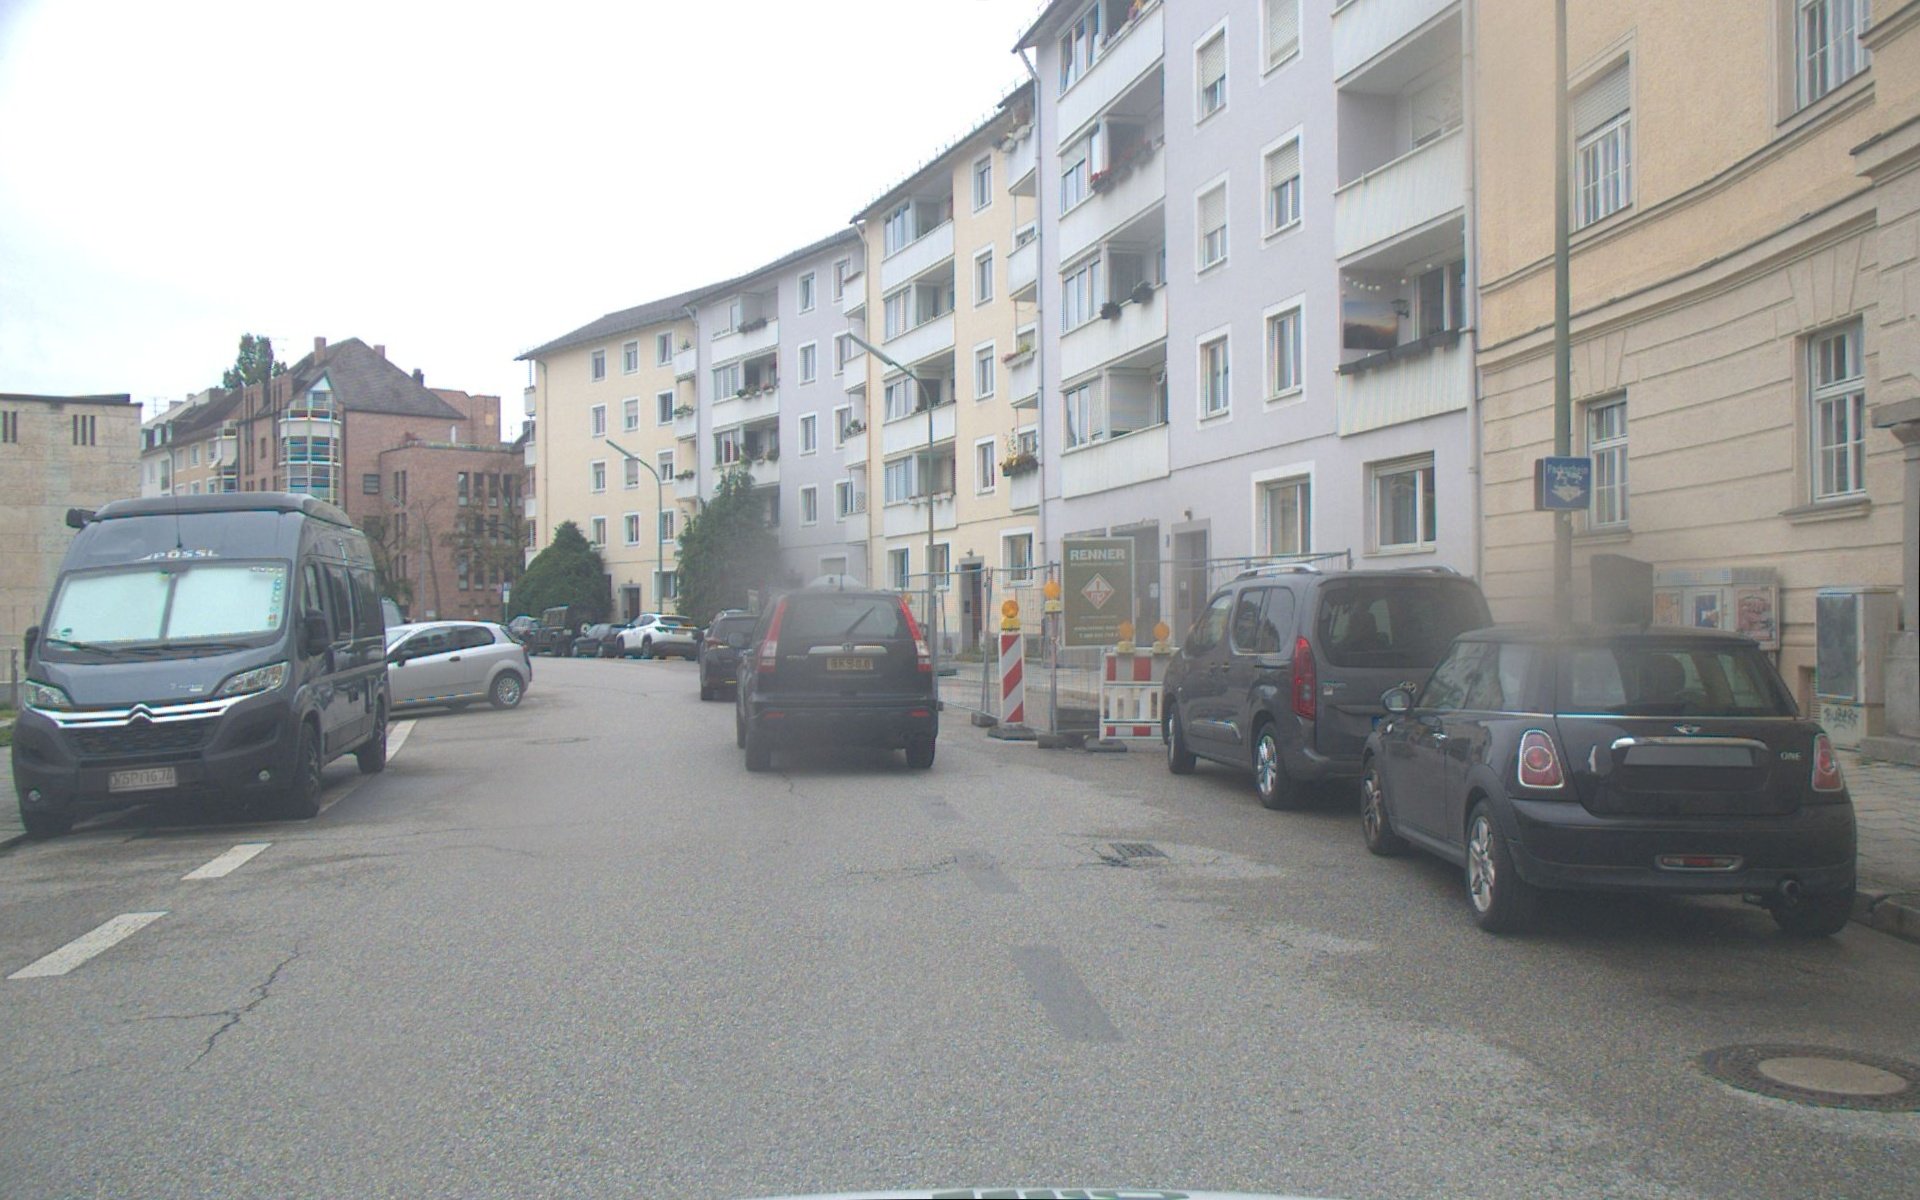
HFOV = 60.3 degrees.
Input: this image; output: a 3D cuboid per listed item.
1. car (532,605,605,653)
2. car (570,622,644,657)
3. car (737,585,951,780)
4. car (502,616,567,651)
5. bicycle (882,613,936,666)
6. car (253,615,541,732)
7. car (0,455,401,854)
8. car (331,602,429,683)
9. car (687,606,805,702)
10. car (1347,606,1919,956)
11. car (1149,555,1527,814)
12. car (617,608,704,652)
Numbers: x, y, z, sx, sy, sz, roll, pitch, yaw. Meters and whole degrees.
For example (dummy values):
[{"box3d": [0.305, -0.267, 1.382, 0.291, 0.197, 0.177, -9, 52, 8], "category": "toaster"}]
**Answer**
[{"box3d": [-16.014, 1.157, 67.499, 1.708, 1.911, 3.955, 0, 0, -33], "category": "car"}, {"box3d": [-13.608, 1.506, 63.667, 1.682, 1.258, 3.561, 0, 0, -33], "category": "car"}, {"box3d": [-1.270, 0.725, 16.419, 1.855, 1.676, 3.984, 0, 0, -8], "category": "car"}, {"box3d": [-18.358, 1.425, 71.270, 1.682, 1.413, 3.561, 0, 0, -33], "category": "car"}, {"box3d": [-1.427, 1.066, 45.802, 0.952, 1.413, 2.554, 0, -1, -15], "category": "bicycle"}, {"box3d": [-8.980, 1.147, 26.640, 1.653, 1.507, 4.066, -6, -1, 40], "category": "car"}, {"box3d": [-6.338, 0.361, 14.372, 2.127, 2.688, 5.997, -2, 0, -13], "category": "car"}, {"box3d": [-13.420, 0.939, 38.104, 1.658, 1.737, 4.476, 0, -1, -26], "category": "car"}, {"box3d": [-3.742, 0.877, 28.409, 1.650, 1.507, 4.073, 0, 0, -13], "category": "car"}, {"box3d": [3.349, 0.790, 9.033, 1.672, 1.473, 3.830, 1, 0, 2], "category": "car"}, {"box3d": [2.975, 0.626, 14.005, 1.744, 1.838, 4.269, 1, 0, -7], "category": "car"}, {"box3d": [-10.792, 1.046, 59.452, 1.708, 1.509, 3.955, 0, 0, -33], "category": "car"}]
